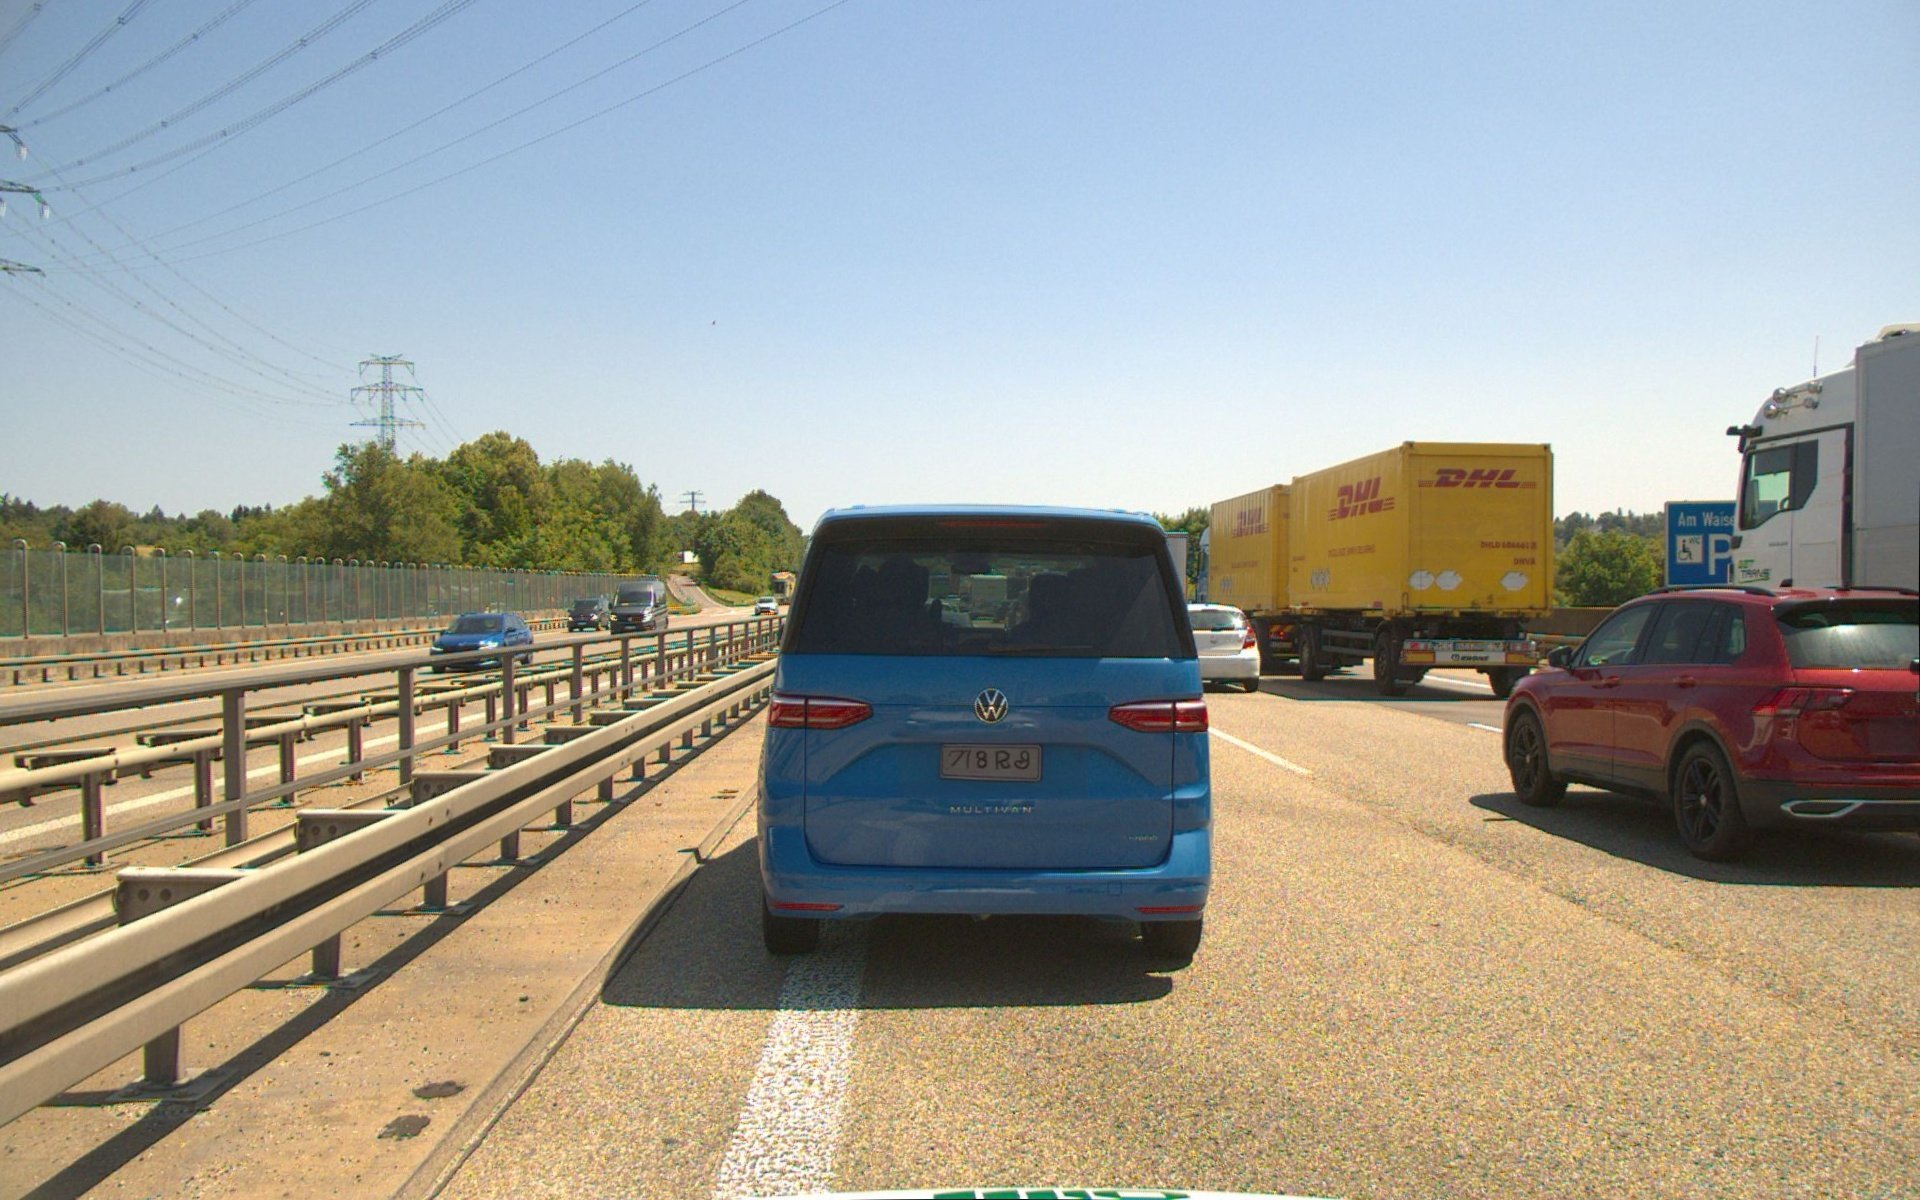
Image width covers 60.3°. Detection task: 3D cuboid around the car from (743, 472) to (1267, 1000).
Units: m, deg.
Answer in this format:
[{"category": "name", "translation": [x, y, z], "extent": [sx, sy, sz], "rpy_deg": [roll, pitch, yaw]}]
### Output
[{"category": "car", "translation": [0.124, 0.517, 8.067], "extent": [1.891, 1.906, 3.999], "rpy_deg": [1, -1, -2]}]

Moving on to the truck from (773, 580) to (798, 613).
[{"category": "truck", "translation": [-23.064, -0.433, 218.726], "extent": [2.617, 4.258, 6.287], "rpy_deg": [-1, -1, 1]}]

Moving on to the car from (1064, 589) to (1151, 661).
[{"category": "car", "translation": [3.714, 0.621, 42.263], "extent": [1.778, 1.708, 3.931], "rpy_deg": [1, -1, -1]}]

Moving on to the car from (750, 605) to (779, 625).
[{"category": "car", "translation": [-16.606, 1.244, 140.505], "extent": [1.953, 1.571, 4.384], "rpy_deg": [-2, 0, -1]}]

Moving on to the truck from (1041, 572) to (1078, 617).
[{"category": "truck", "translation": [5.646, -0.295, 94.198], "extent": [1.761, 2.492, 4.503], "rpy_deg": [1, -1, -1]}]

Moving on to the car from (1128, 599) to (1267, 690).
[{"category": "car", "translation": [4.197, 0.766, 29.771], "extent": [1.779, 1.496, 3.930], "rpy_deg": [1, -1, -2]}]

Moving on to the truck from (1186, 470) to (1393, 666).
[{"category": "truck", "translation": [7.749, -0.645, 40.392], "extent": [2.645, 4.159, 9.934], "rpy_deg": [1, -1, -2]}]

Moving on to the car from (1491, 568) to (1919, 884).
[{"category": "car", "translation": [5.217, 0.700, 11.150], "extent": [1.674, 1.708, 4.281], "rpy_deg": [0, -1, -4]}]

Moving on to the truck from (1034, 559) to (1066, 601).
[{"category": "truck", "translation": [5.896, -1.292, 108.351], "extent": [1.760, 2.641, 4.304], "rpy_deg": [1, -1, -1]}]

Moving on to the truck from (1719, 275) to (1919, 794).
[{"category": "truck", "translation": [8.861, -0.506, 10.633], "extent": [2.794, 4.003, 10.605], "rpy_deg": [1, -1, -2]}]

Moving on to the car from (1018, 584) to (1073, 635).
[{"category": "car", "translation": [3.432, 0.399, 67.084], "extent": [1.922, 1.970, 3.931], "rpy_deg": [1, -1, -2]}]

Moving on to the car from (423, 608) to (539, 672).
[{"category": "car", "translation": [-12.422, 0.992, 43.177], "extent": [1.736, 1.517, 4.604], "rpy_deg": [-1, 0, -1]}]

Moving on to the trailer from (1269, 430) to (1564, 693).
[{"category": "trailer", "translation": [8.153, -0.581, 30.974], "extent": [2.629, 4.159, 8.975], "rpy_deg": [1, -1, -3]}]

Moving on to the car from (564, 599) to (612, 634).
[{"category": "car", "translation": [-21.912, 0.961, 97.611], "extent": [1.918, 1.939, 4.948], "rpy_deg": [-2, 0, -3]}]

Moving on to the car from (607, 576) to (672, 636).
[{"category": "car", "translation": [-15.085, 0.311, 78.143], "extent": [1.954, 2.627, 6.647], "rpy_deg": [-2, 0, -2]}]

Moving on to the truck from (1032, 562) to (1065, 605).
[{"category": "truck", "translation": [5.457, -1.006, 102.759], "extent": [1.706, 2.593, 4.209], "rpy_deg": [1, -1, -1]}]

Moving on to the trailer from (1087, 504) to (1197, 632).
[{"category": "trailer", "translation": [7.126, -1.133, 66.359], "extent": [2.965, 4.692, 10.922], "rpy_deg": [1, -1, -1]}]
